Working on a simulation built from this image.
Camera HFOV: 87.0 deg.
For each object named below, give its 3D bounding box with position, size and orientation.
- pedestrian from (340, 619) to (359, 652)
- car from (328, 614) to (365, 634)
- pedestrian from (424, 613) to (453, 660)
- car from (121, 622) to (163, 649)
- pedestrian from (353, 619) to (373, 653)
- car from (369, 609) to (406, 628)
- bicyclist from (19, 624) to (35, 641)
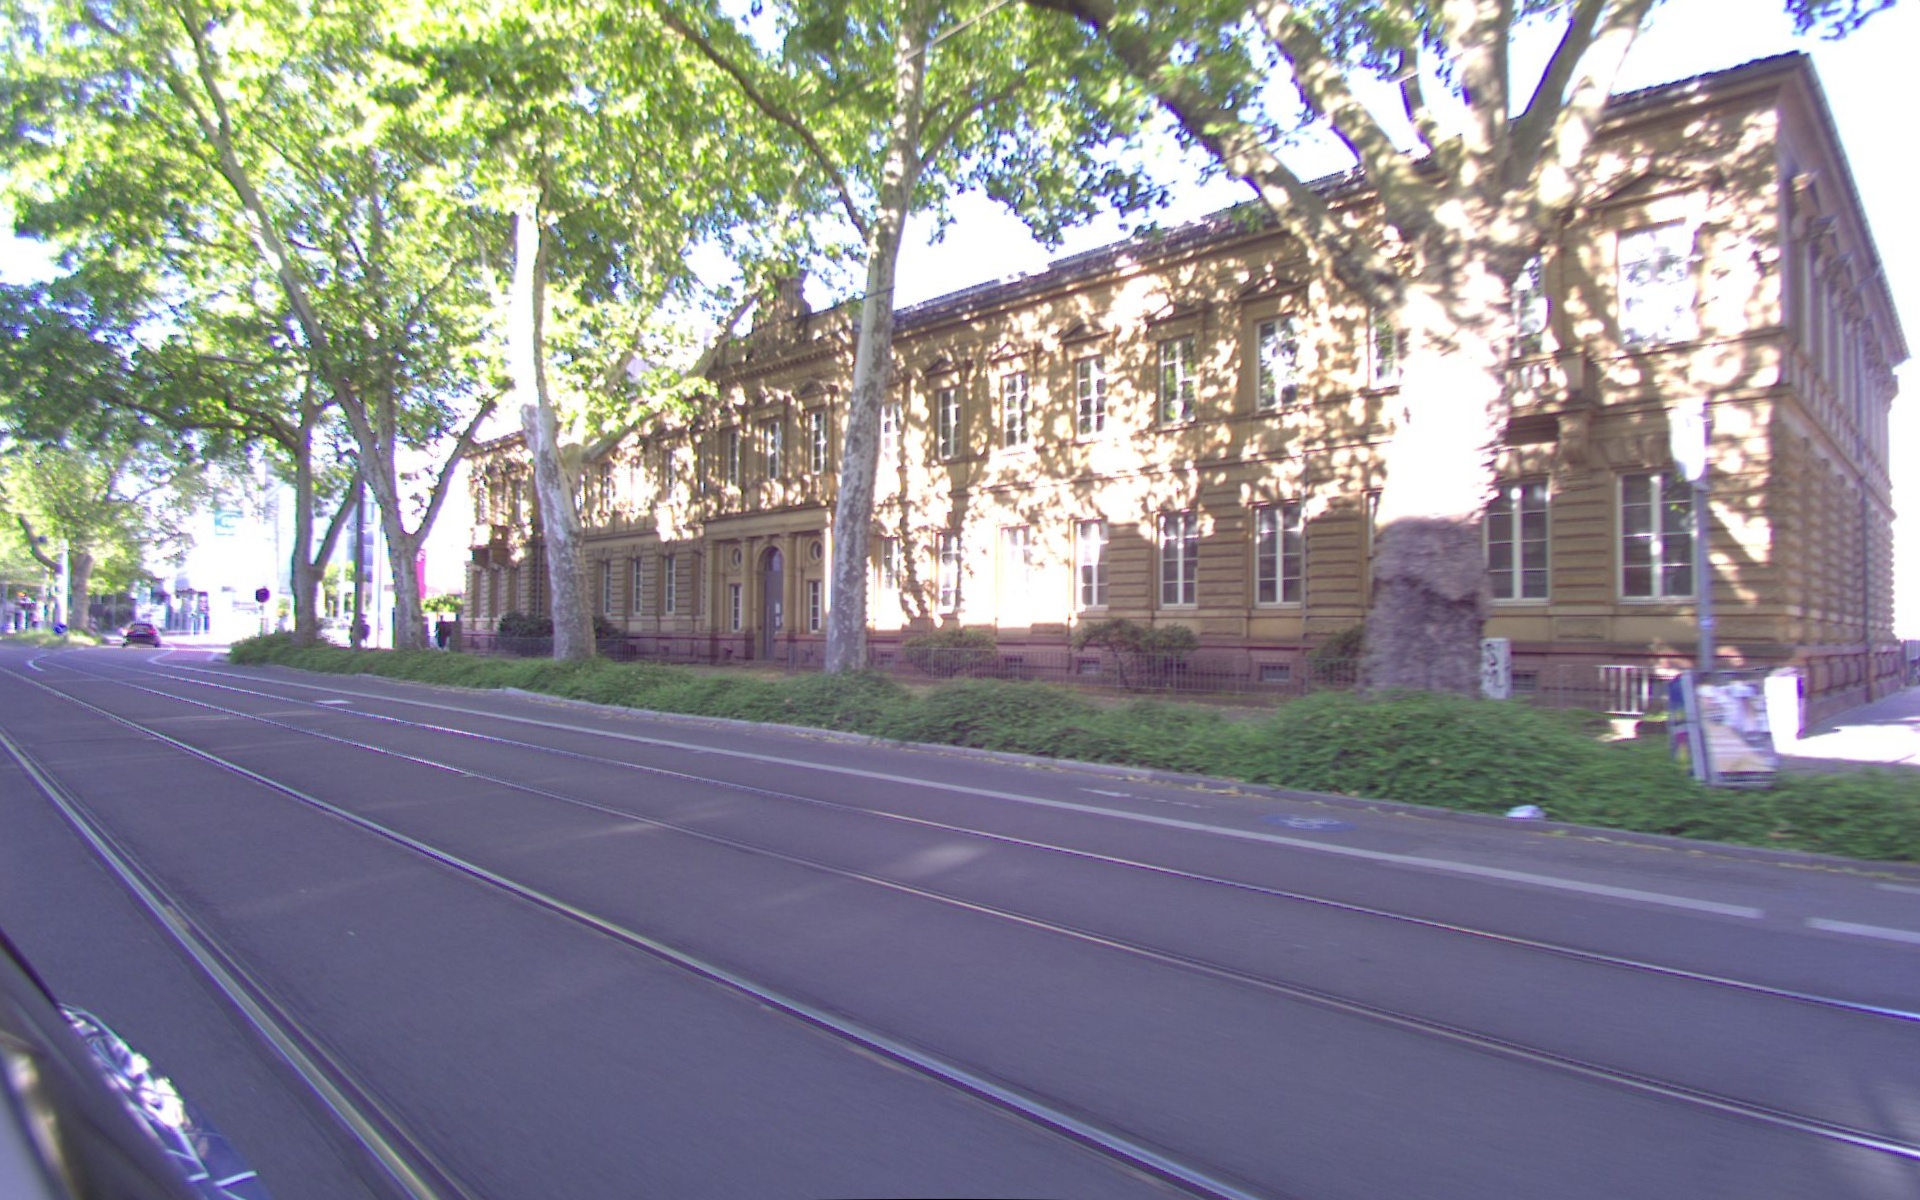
[{"bbox_3d":[-31.126,1.799,51.569,0.655,1.710,0.628,-1,-2,37],"label":"pedestrian"},{"bbox_3d":[-56.377,2.187,93.038,3.999,1.831,1.828,-1,-1,42],"label":"car"},{"bbox_3d":[-20.823,1.441,40.438,0.835,1.863,0.713,-1,-1,35],"label":"pedestrian"},{"bbox_3d":[-51.581,2.234,63.754,1.843,1.642,4.566,2,-3,-41],"label":"car"},{"bbox_3d":[-30.738,1.834,52.137,0.660,1.710,0.665,-1,-1,34],"label":"pedestrian"},{"bbox_3d":[-53.773,1.710,94.986,3.999,1.765,1.828,-1,-1,42],"label":"car"},{"bbox_3d":[-85.427,2.972,92.648,0.759,1.588,0.994,-1,-2,40],"label":"bicyclist"}]
